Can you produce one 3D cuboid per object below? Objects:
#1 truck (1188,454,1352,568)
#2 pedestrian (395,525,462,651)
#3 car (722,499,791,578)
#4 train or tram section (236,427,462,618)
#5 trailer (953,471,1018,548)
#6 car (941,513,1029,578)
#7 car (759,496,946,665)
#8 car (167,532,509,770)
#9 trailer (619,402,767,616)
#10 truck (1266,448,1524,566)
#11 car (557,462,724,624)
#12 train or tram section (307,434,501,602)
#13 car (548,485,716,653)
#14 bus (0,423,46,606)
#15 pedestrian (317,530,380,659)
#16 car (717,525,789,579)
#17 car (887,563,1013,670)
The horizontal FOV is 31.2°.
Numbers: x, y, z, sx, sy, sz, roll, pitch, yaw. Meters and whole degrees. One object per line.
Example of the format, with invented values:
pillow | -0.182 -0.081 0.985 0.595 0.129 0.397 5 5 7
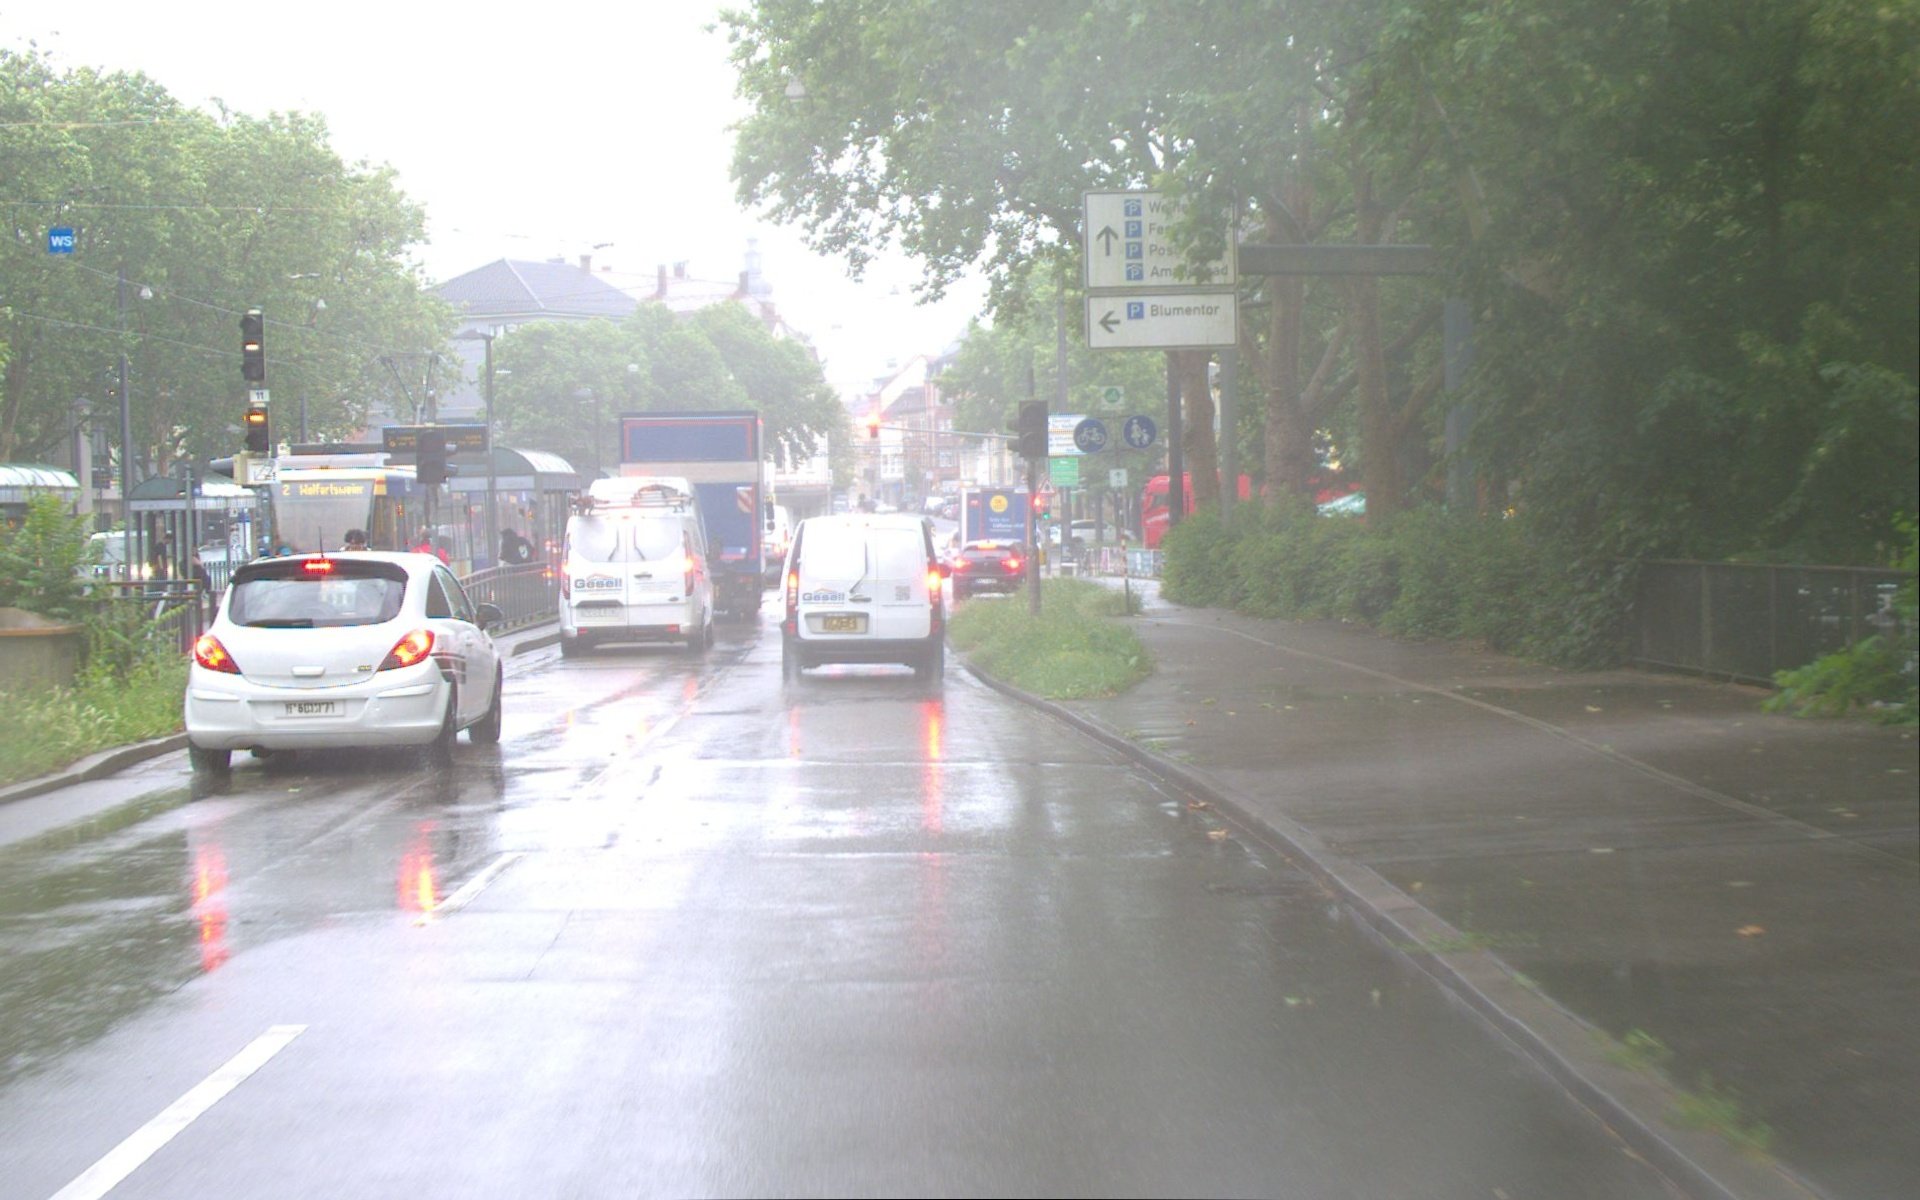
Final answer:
truck | 14.165 -4.061 156.798 7.159 4.882 3.288 -2 2 8
pedestrian | -7.325 -0.160 47.442 0.790 1.708 0.771 1 0 -2
car | -6.422 -1.942 108.957 1.993 2.434 4.612 1 1 -2
train or tram section | -11.382 -1.506 64.824 2.961 3.274 8.362 -2 2 -2
trailer | 0.809 -2.813 107.832 1.993 2.309 4.668 0 0 1
car | 0.648 -1.340 84.222 1.994 1.536 4.000 -1 1 3
car | -1.183 -0.213 37.989 1.959 1.771 3.570 0 0 -2
car | -4.122 0.311 23.311 1.725 1.474 3.806 0 0 -2
trailer | -5.059 -1.730 66.305 2.590 3.886 7.637 0 1 -3
truck | 19.738 -4.218 155.939 11.367 4.882 3.288 -2 2 8
car | -5.240 -0.903 57.151 2.329 2.548 6.115 0 0 -1
train or tram section | -11.725 -1.784 73.217 2.978 3.274 8.432 -2 2 -2
car | -4.577 -0.423 48.694 1.993 2.254 5.289 0 0 -1
bus | -21.502 -1.770 69.986 3.029 3.825 12.247 0 1 -3
pedestrian | -8.350 -0.077 46.964 0.715 1.738 0.751 -1 1 -2
car | -6.211 -1.445 103.446 1.993 1.573 4.292 1 1 -2
car | -0.149 0.246 54.335 1.908 1.612 4.000 0 0 0
